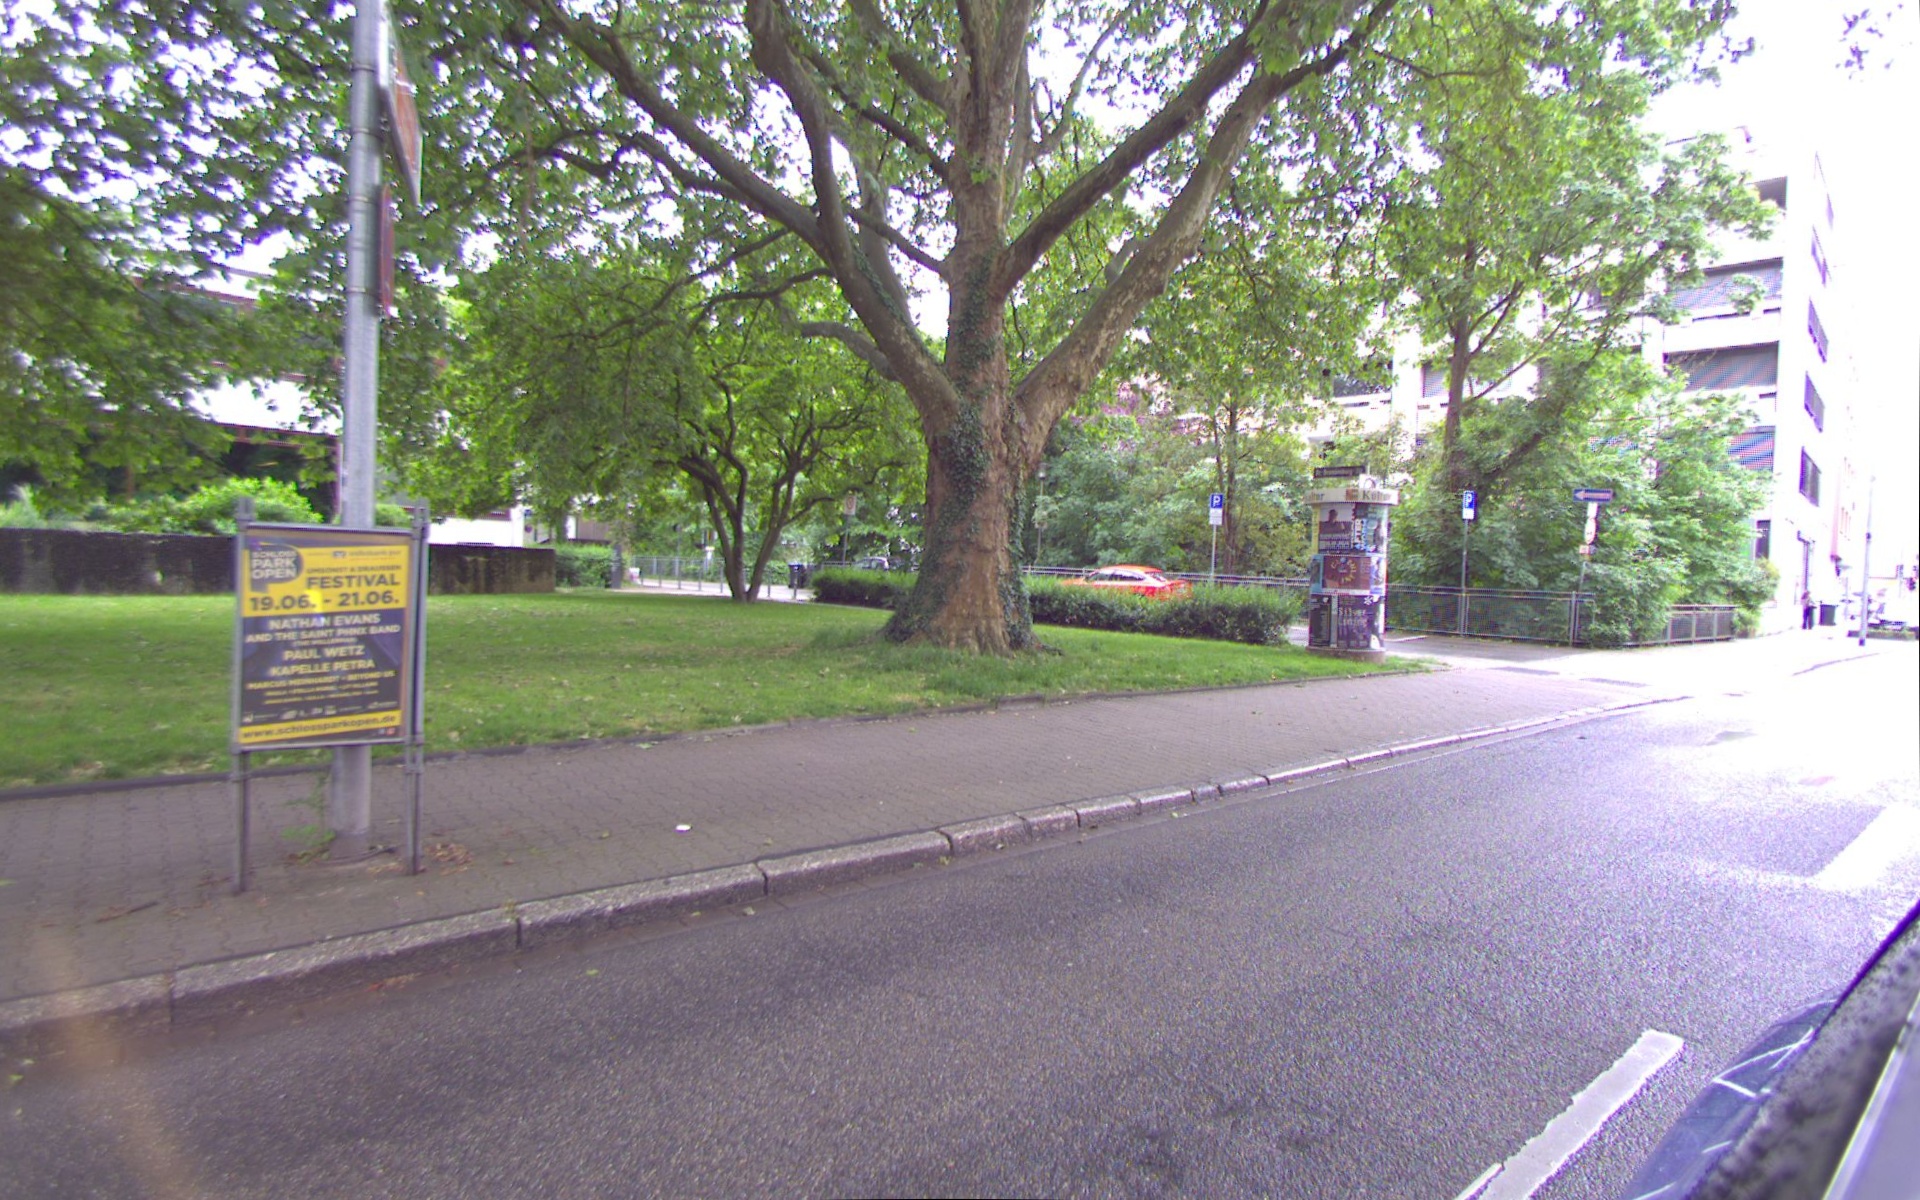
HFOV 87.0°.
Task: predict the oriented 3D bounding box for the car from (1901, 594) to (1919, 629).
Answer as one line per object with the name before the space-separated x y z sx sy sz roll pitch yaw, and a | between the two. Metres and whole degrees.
car | 42.565 0.516 44.159 4.493 1.437 1.834 0 3 -43

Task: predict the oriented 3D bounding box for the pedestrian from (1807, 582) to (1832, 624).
pedestrian | 34.917 0.118 41.111 0.598 1.679 0.681 7 4 42

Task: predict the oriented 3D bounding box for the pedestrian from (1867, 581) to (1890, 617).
pedestrian | 56.538 -0.086 62.312 0.797 2.179 0.732 2 1 26

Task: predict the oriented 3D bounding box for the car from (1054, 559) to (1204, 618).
car | 4.903 -0.388 29.746 3.989 1.499 1.847 5 5 44

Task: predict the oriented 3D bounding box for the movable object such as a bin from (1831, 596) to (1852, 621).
movable object such as a bin | 42.129 0.403 48.377 0.505 1.117 0.680 0 2 -42

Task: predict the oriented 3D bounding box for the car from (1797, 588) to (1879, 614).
car | 62.111 0.036 71.671 1.770 1.604 4.155 0 3 -41

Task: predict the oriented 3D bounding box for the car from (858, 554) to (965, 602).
car | -1.827 -0.823 37.091 1.707 1.590 3.925 0 3 -45

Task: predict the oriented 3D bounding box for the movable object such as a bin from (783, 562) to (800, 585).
movable object such as a bin | -7.187 -1.130 43.161 0.573 0.986 0.512 0 0 -41

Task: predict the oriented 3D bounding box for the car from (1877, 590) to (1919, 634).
car | 37.519 0.465 39.839 3.741 1.577 1.705 0 4 -43
